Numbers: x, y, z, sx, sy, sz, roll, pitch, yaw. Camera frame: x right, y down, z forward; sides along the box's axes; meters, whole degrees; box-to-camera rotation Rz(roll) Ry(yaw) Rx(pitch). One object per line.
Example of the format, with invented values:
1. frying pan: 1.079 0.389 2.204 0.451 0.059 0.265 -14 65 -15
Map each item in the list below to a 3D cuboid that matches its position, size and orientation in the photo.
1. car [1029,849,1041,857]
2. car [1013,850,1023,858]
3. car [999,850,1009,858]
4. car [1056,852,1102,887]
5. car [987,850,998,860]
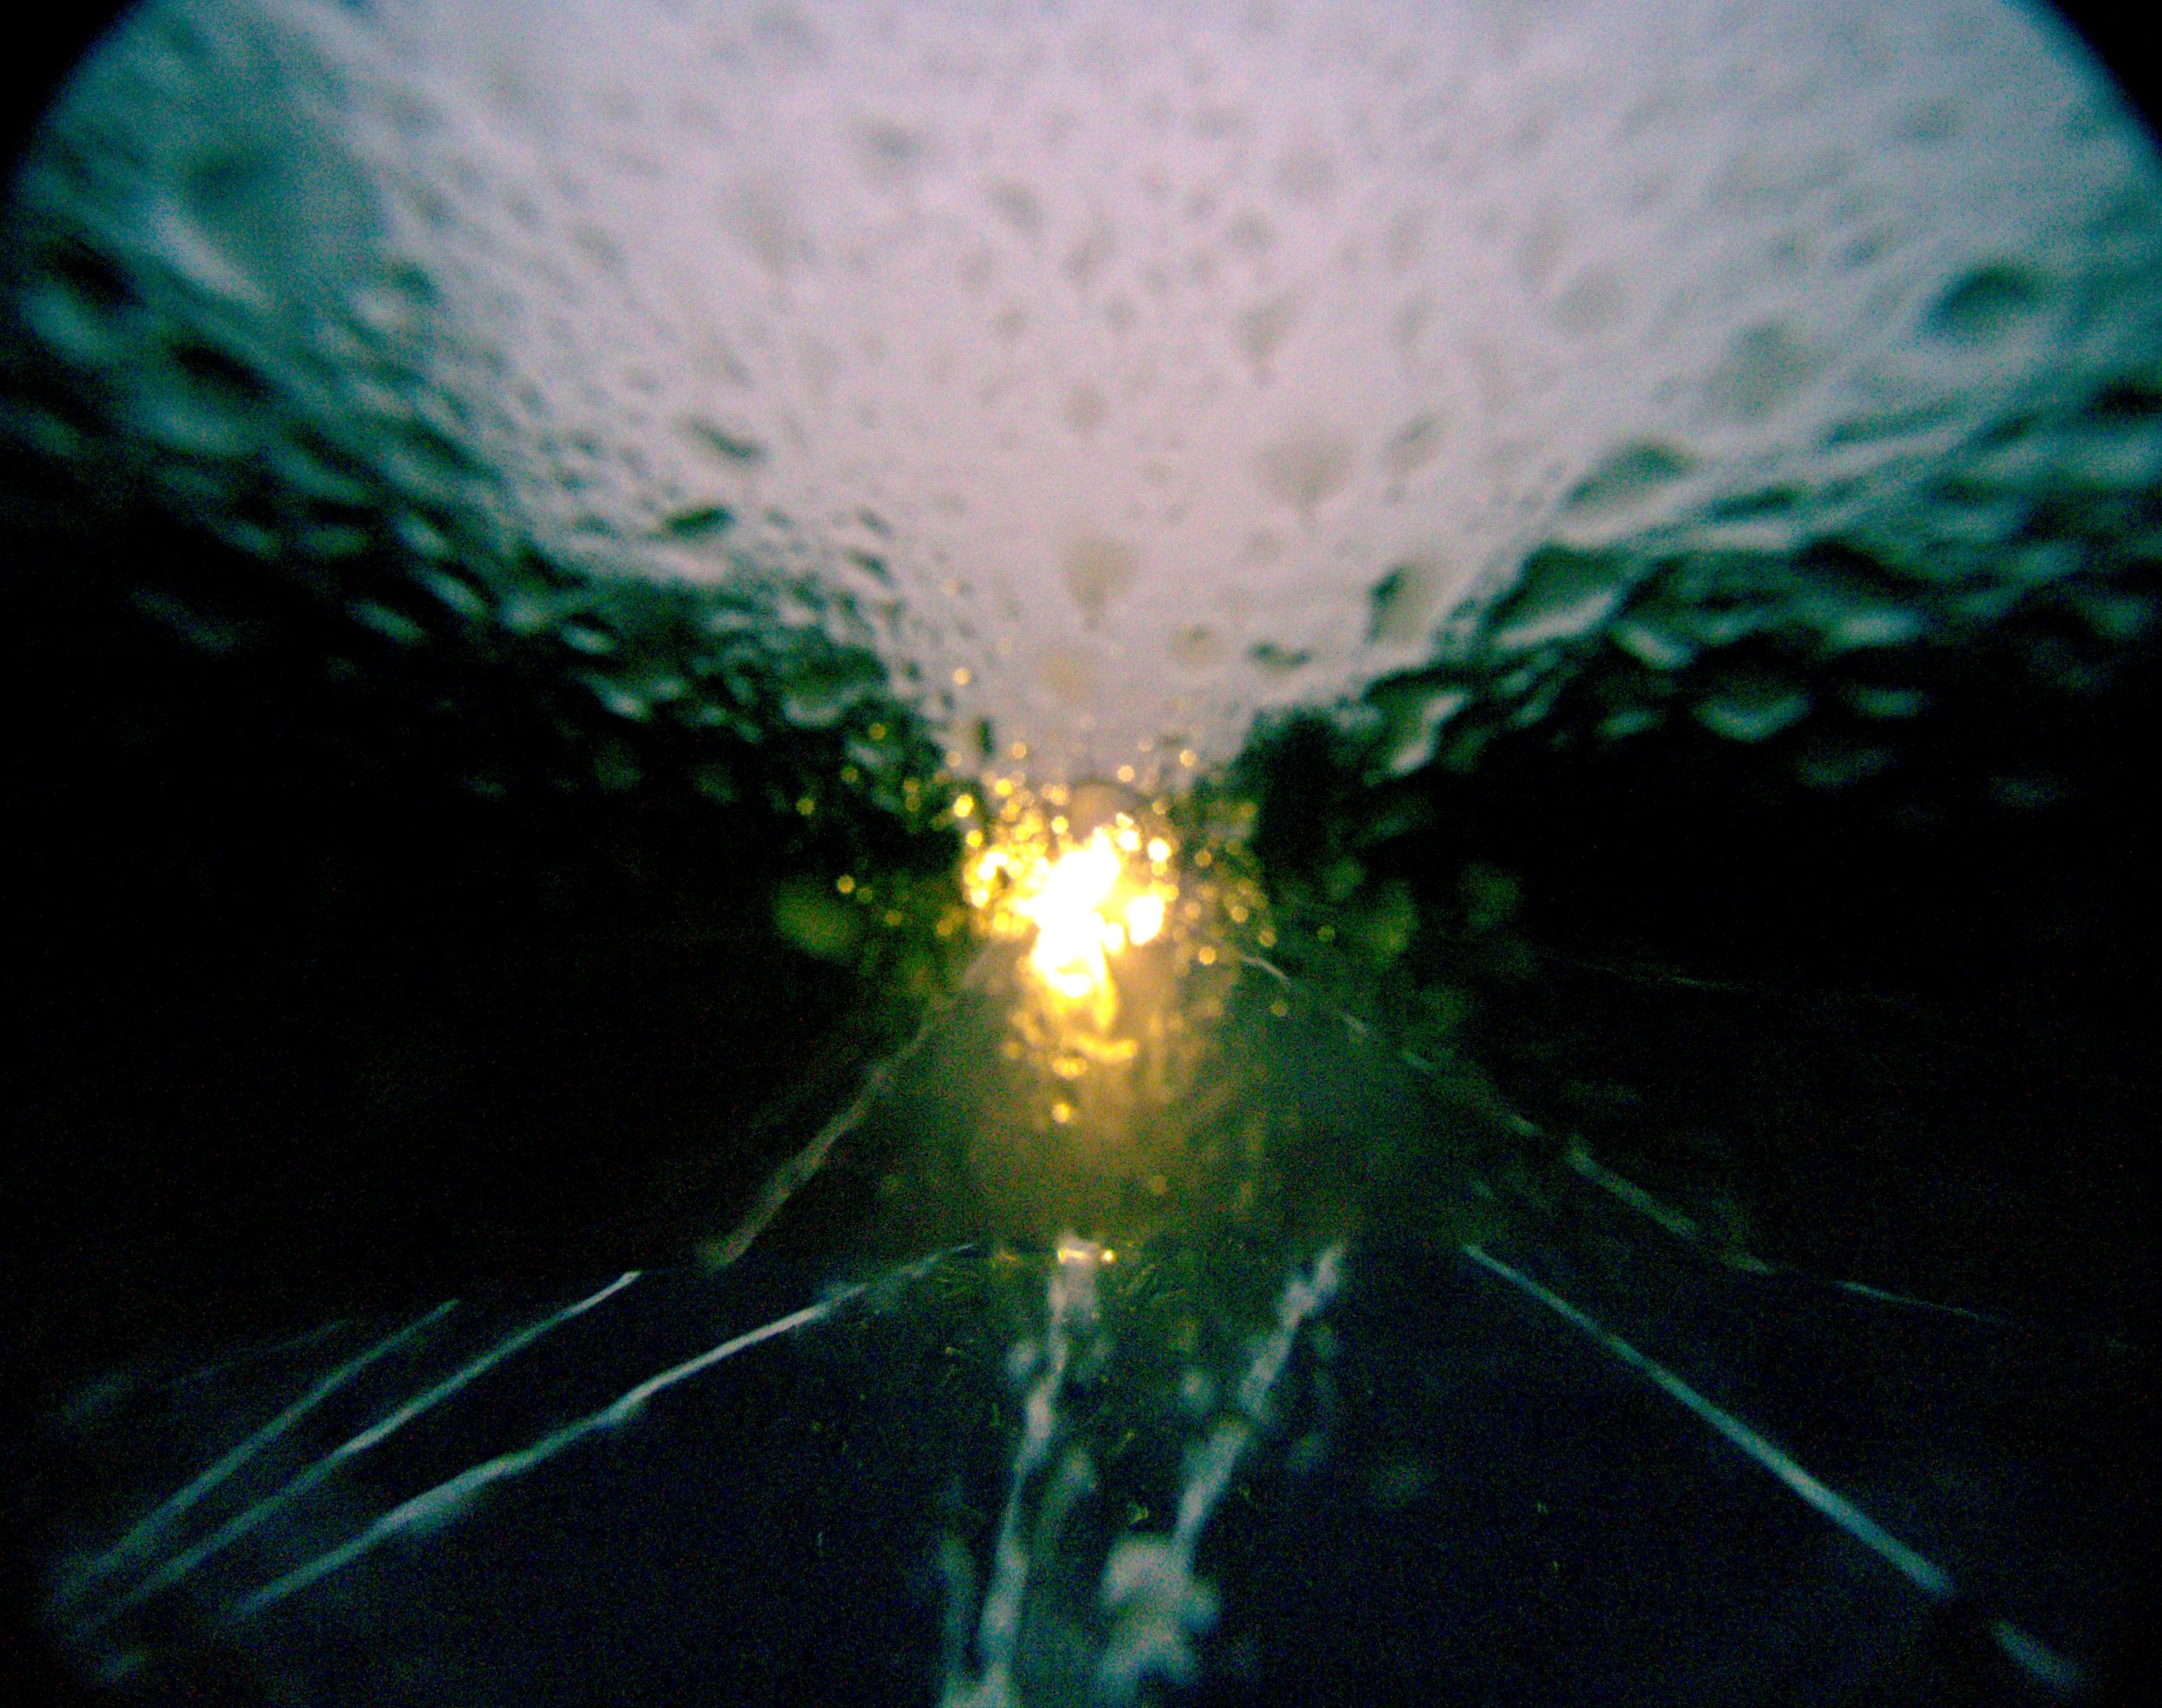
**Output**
1. car: -8.615 -0.109 141.781 1.810 1.445 4.375 0 1 -8
2. car: -13.763 0.037 165.882 1.866 1.638 4.463 0 1 -10
3. car: -16.097 0.035 158.420 1.719 1.617 4.213 0 1 -11
4. car: -0.157 0.651 34.833 1.851 1.429 4.242 0 1 -3
5. car: -17.923 0.176 153.479 1.703 1.721 3.994 -1 2 -13
